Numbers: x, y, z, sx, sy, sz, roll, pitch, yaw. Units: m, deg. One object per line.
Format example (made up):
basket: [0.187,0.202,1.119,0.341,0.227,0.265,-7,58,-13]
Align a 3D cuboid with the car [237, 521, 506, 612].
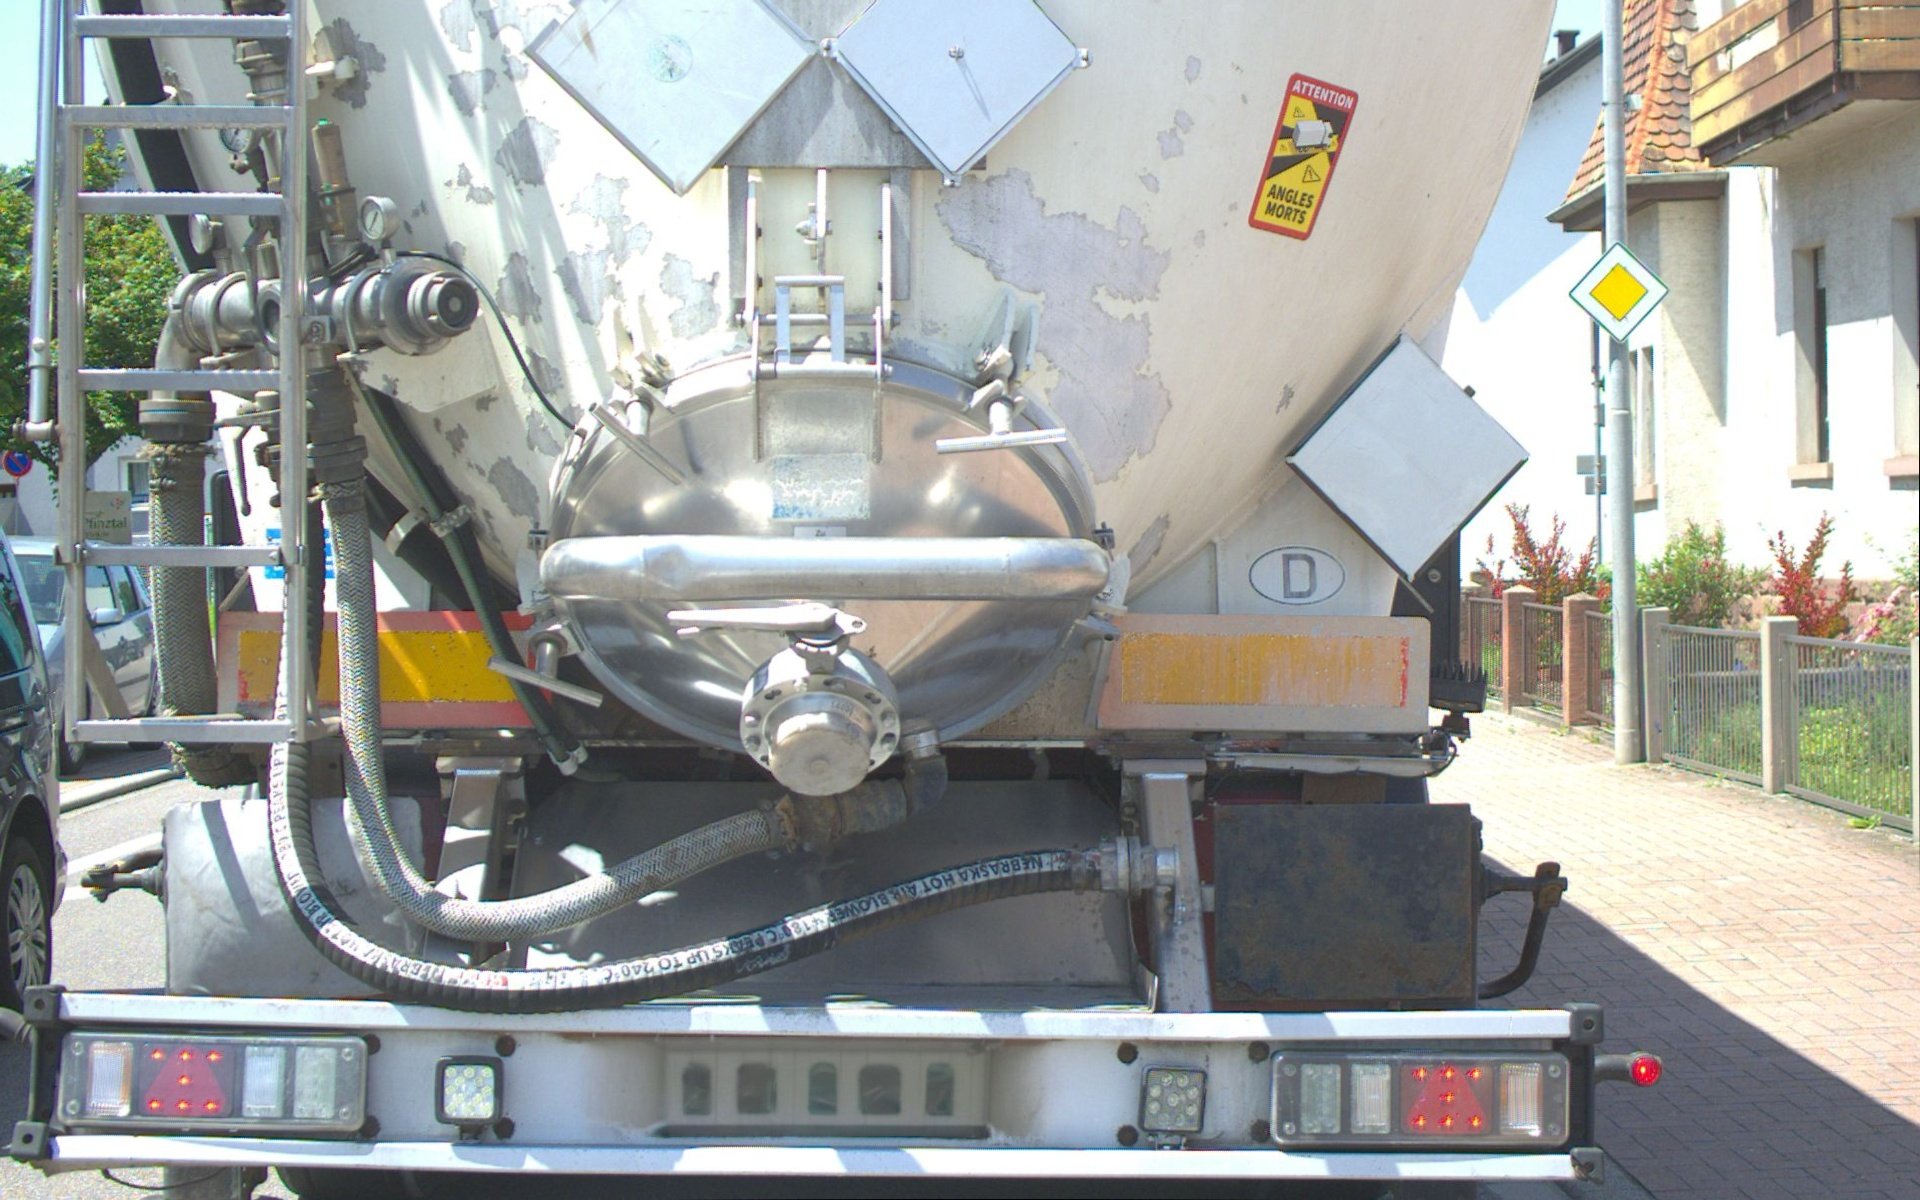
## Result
car: [-10.979,-0.629,64.291,4.626,1.645,1.740,0,1,8]

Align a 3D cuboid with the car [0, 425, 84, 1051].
car: [-3.668,0.460,8.870,1.655,1.848,4.464,-2,1,-1]

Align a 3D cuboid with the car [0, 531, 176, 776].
car: [-6.743,0.308,24.080,1.697,1.575,3.838,0,1,-1]

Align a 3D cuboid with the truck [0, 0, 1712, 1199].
truck: [-0.290,-0.716,9.653,2.641,4.002,9.562,0,1,0]

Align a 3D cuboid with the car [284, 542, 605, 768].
car: [-3.752,0.344,25.688,1.719,1.441,4.255,-3,1,0]
